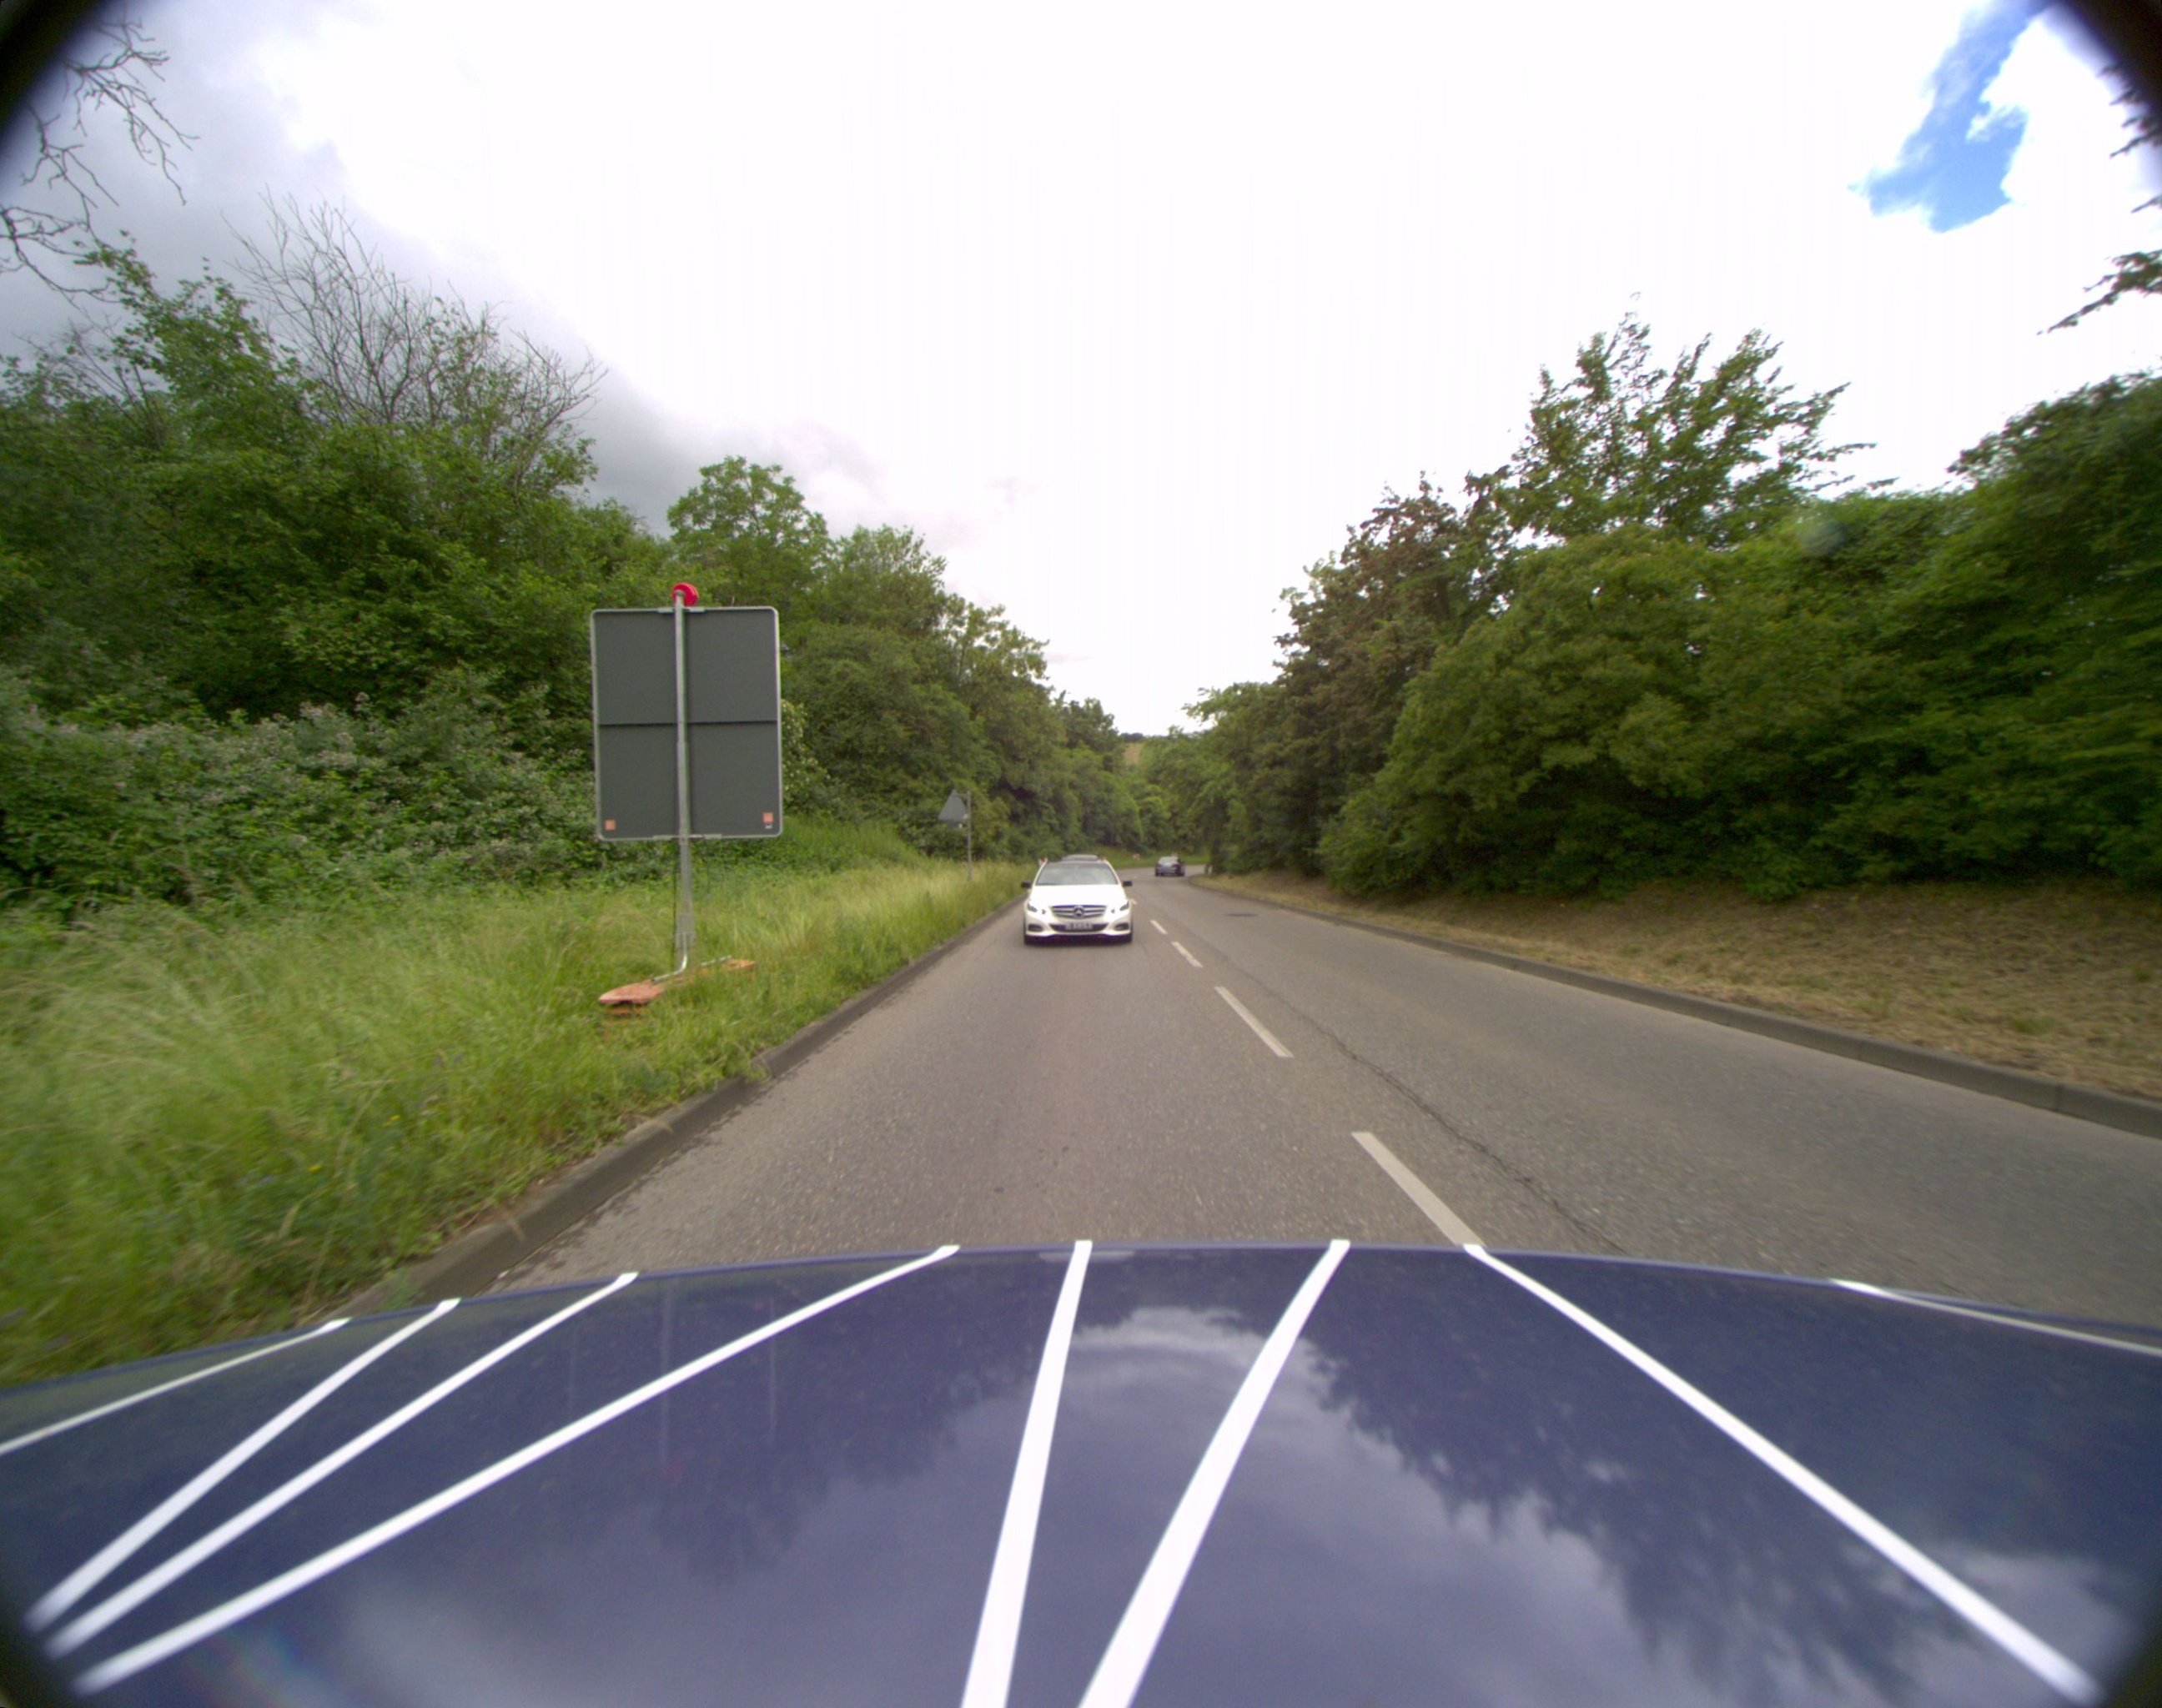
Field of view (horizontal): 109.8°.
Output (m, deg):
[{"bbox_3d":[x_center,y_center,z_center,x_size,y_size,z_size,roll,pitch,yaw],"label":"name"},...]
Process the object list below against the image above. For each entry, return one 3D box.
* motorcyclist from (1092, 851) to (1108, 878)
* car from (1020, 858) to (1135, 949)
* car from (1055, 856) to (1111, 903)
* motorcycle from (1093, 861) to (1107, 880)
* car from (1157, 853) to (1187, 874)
[{"bbox_3d":[1.097,0.584,43.149,0.818,1.457,0.787,-2,1,4],"label":"motorcyclist"},{"bbox_3d":[-0.089,0.849,14.829,1.887,1.414,3.999,-2,0,-1],"label":"car"},{"bbox_3d":[0.122,0.847,27.014,1.822,1.535,3.726,0,0,2],"label":"car"},{"bbox_3d":[1.097,0.928,43.236,0.702,0.970,1.695,-2,0,5],"label":"motorcycle"},{"bbox_3d":[6.762,0.690,56.346,1.834,1.397,4.435,-2,0,11],"label":"car"}]
